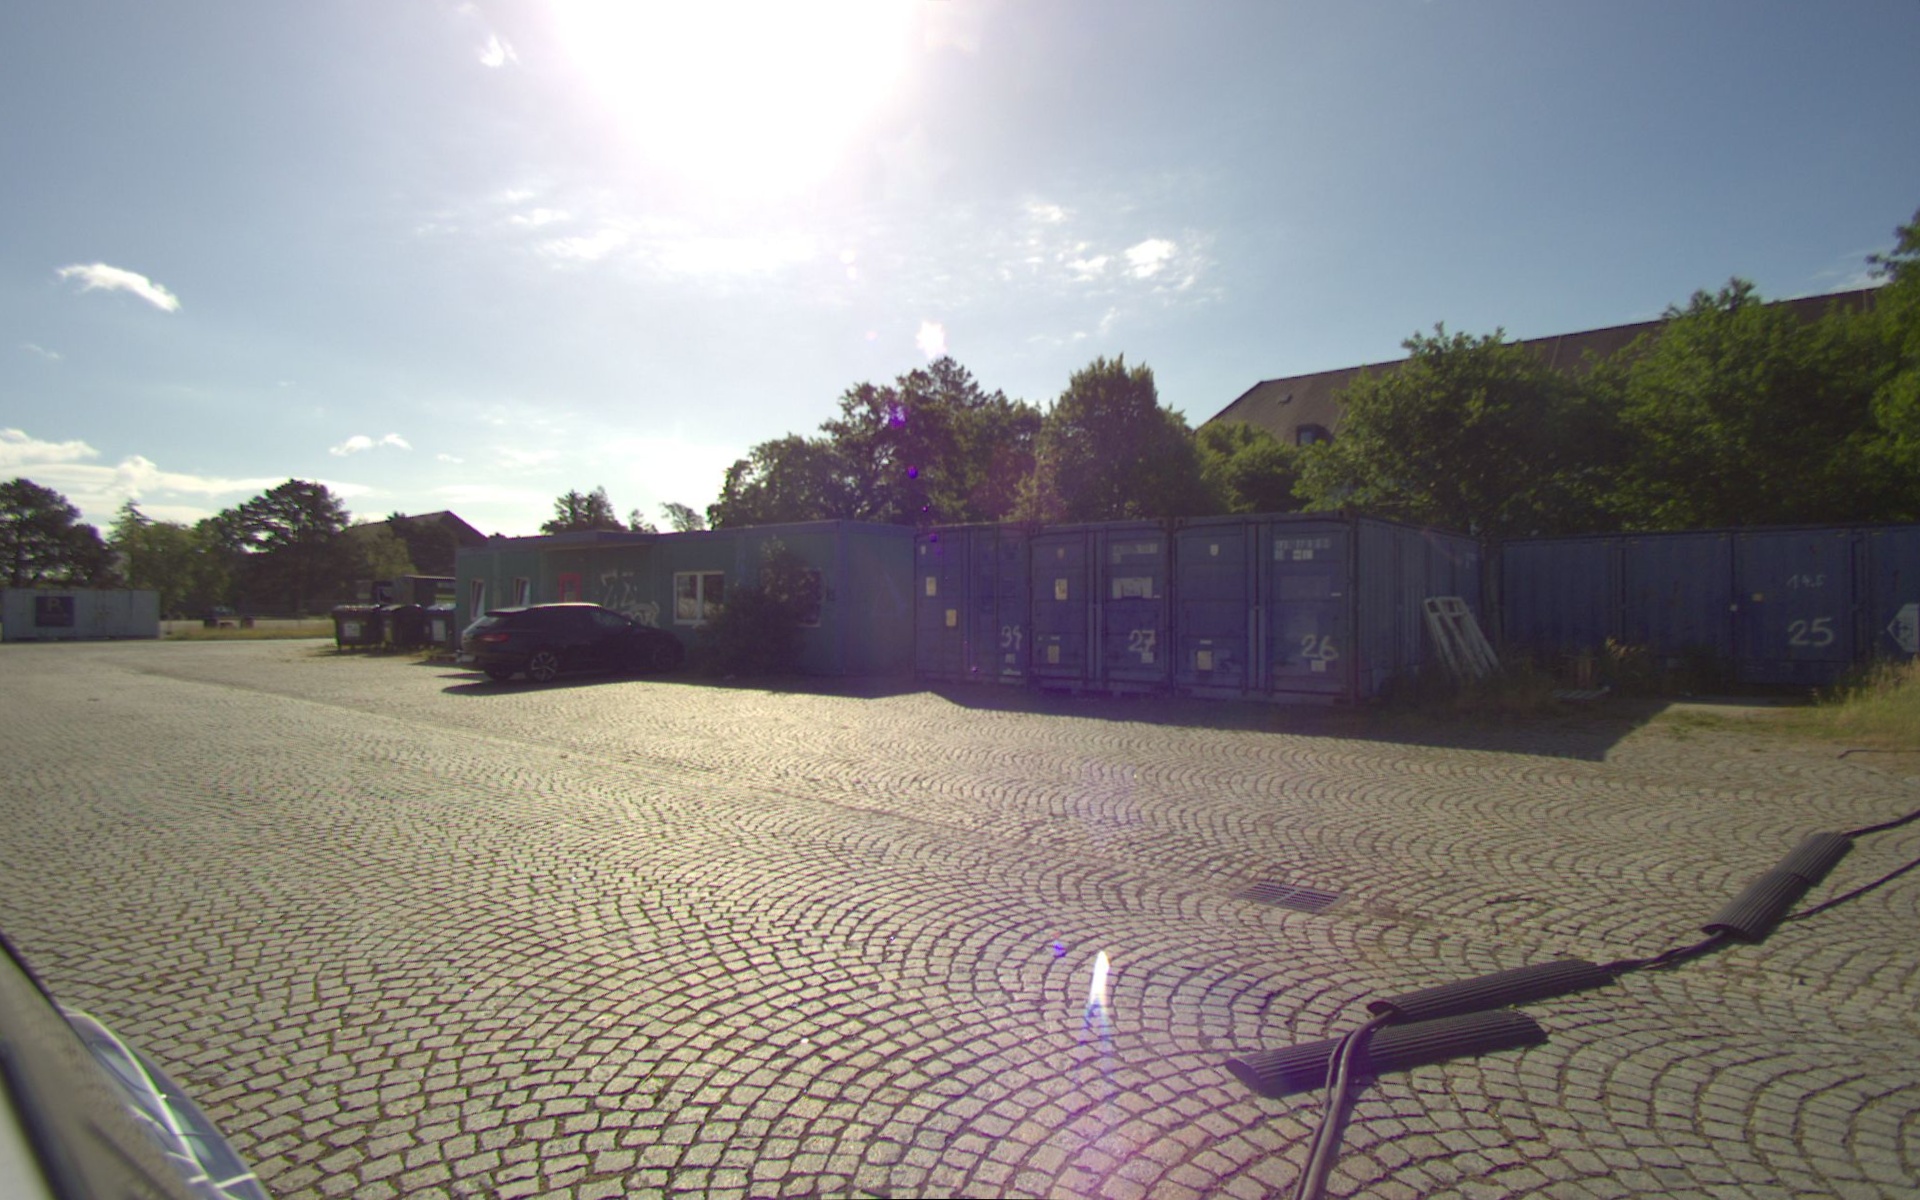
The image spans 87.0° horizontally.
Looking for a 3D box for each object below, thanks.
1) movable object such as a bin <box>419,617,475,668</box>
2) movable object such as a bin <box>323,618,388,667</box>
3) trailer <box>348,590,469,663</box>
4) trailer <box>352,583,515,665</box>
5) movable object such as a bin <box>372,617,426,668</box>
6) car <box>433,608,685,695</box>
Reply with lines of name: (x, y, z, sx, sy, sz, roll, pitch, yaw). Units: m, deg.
movable object such as a bin: (-15.331, 1.245, 30.247, 1.435, 1.469, 0.876, 0, 0, 30)
movable object such as a bin: (-18.983, 1.320, 31.803, 1.416, 1.469, 1.158, 0, 0, -6)
trailer: (-19.810, 0.893, 36.390, 2.044, 2.488, 3.349, 0, 0, 42)
trailer: (-17.984, 0.766, 34.759, 1.948, 2.587, 4.594, 0, 0, 37)
movable object such as a bin: (-17.076, 1.275, 30.786, 1.440, 1.469, 1.007, 0, 0, 41)
car: (-7.714, 0.914, 19.782, 1.929, 1.460, 4.210, 0, 0, 39)
